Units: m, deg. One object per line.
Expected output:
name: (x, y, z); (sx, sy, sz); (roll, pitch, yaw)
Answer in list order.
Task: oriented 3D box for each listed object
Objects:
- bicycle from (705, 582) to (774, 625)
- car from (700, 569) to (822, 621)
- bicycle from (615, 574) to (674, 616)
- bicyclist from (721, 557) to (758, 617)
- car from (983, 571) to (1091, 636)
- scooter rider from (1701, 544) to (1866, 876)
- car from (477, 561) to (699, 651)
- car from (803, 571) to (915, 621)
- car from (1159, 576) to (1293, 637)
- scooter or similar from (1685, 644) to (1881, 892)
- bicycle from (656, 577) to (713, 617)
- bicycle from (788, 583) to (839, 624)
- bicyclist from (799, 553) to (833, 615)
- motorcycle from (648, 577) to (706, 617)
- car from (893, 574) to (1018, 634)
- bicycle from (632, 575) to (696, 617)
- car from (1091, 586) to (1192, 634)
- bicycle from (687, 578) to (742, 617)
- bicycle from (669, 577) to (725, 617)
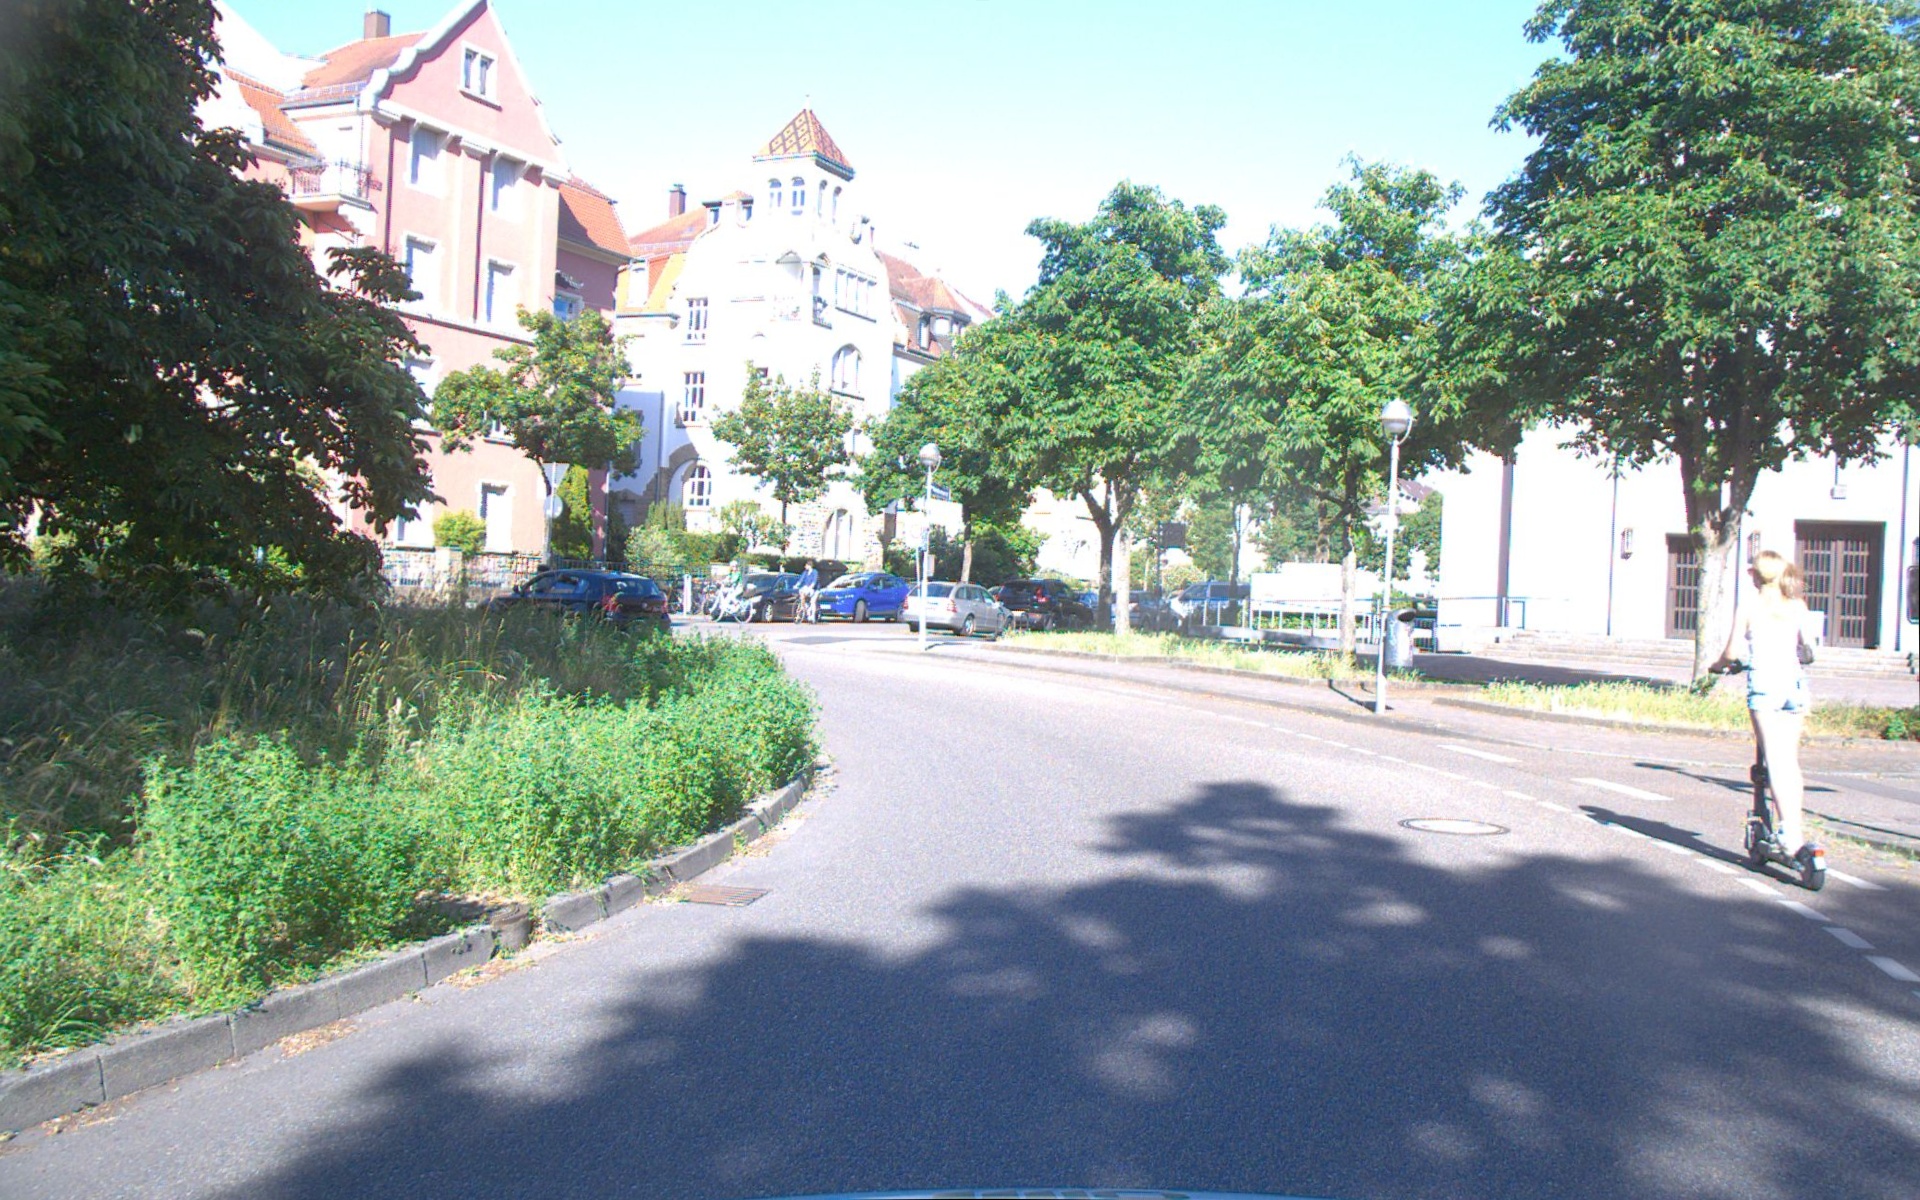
bicycle: (-6.071, 0.097, 45.616); (1.844, 1.127, 0.587); (2, 0, -39)
car: (-5.917, -0.132, 49.701); (1.767, 1.509, 4.338); (0, 0, 22)
bicycle: (-9.482, -0.143, 49.680); (1.689, 1.134, 0.545); (5, 1, 28)
bicyclist: (-6.076, -0.356, 45.599); (0.794, 1.609, 0.589); (2, 0, -33)
car: (2.331, 0.111, 48.856); (1.767, 1.758, 4.338); (3, 1, 22)
scooter rider: (4.828, 0.621, 9.732); (0.610, 1.863, 0.632); (2, 0, 5)
car: (-6.616, 0.081, 29.238); (3.927, 1.444, 1.860); (2, 0, 41)
car: (-3.282, -0.107, 54.828); (1.768, 1.589, 4.395); (0, 0, 26)
car: (10.131, 0.231, 63.058); (4.668, 2.036, 1.809); (4, 1, 23)
scooter or similar: (4.811, 0.948, 9.734); (0.617, 1.305, 1.107); (2, 0, 5)
bicycle: (-8.594, -0.099, 51.596); (1.686, 1.126, 0.501); (4, 1, 20)
bicycle: (-4.228, 0.117, 47.803); (0.631, 1.127, 1.715); (2, 0, 26)
bicyclist: (-4.168, -0.454, 47.830); (0.631, 1.744, 0.722); (2, 0, 26)
motorcycle: (-8.753, -0.097, 51.071); (1.686, 1.126, 0.501); (4, 1, 20)
car: (-0.052, 0.114, 44.375); (1.767, 1.440, 4.338); (3, 1, 22)
bicycle: (-9.018, -0.129, 50.401); (1.785, 1.126, 0.501); (4, 1, 11)
car: (6.208, 0.355, 56.140); (1.771, 1.499, 4.330); (3, 1, 30)
bicycle: (-7.875, -0.093, 53.017); (1.687, 1.126, 0.515); (5, 1, 24)
bicycle: (-8.303, -0.093, 52.180); (1.687, 1.126, 0.500); (5, 1, 24)
